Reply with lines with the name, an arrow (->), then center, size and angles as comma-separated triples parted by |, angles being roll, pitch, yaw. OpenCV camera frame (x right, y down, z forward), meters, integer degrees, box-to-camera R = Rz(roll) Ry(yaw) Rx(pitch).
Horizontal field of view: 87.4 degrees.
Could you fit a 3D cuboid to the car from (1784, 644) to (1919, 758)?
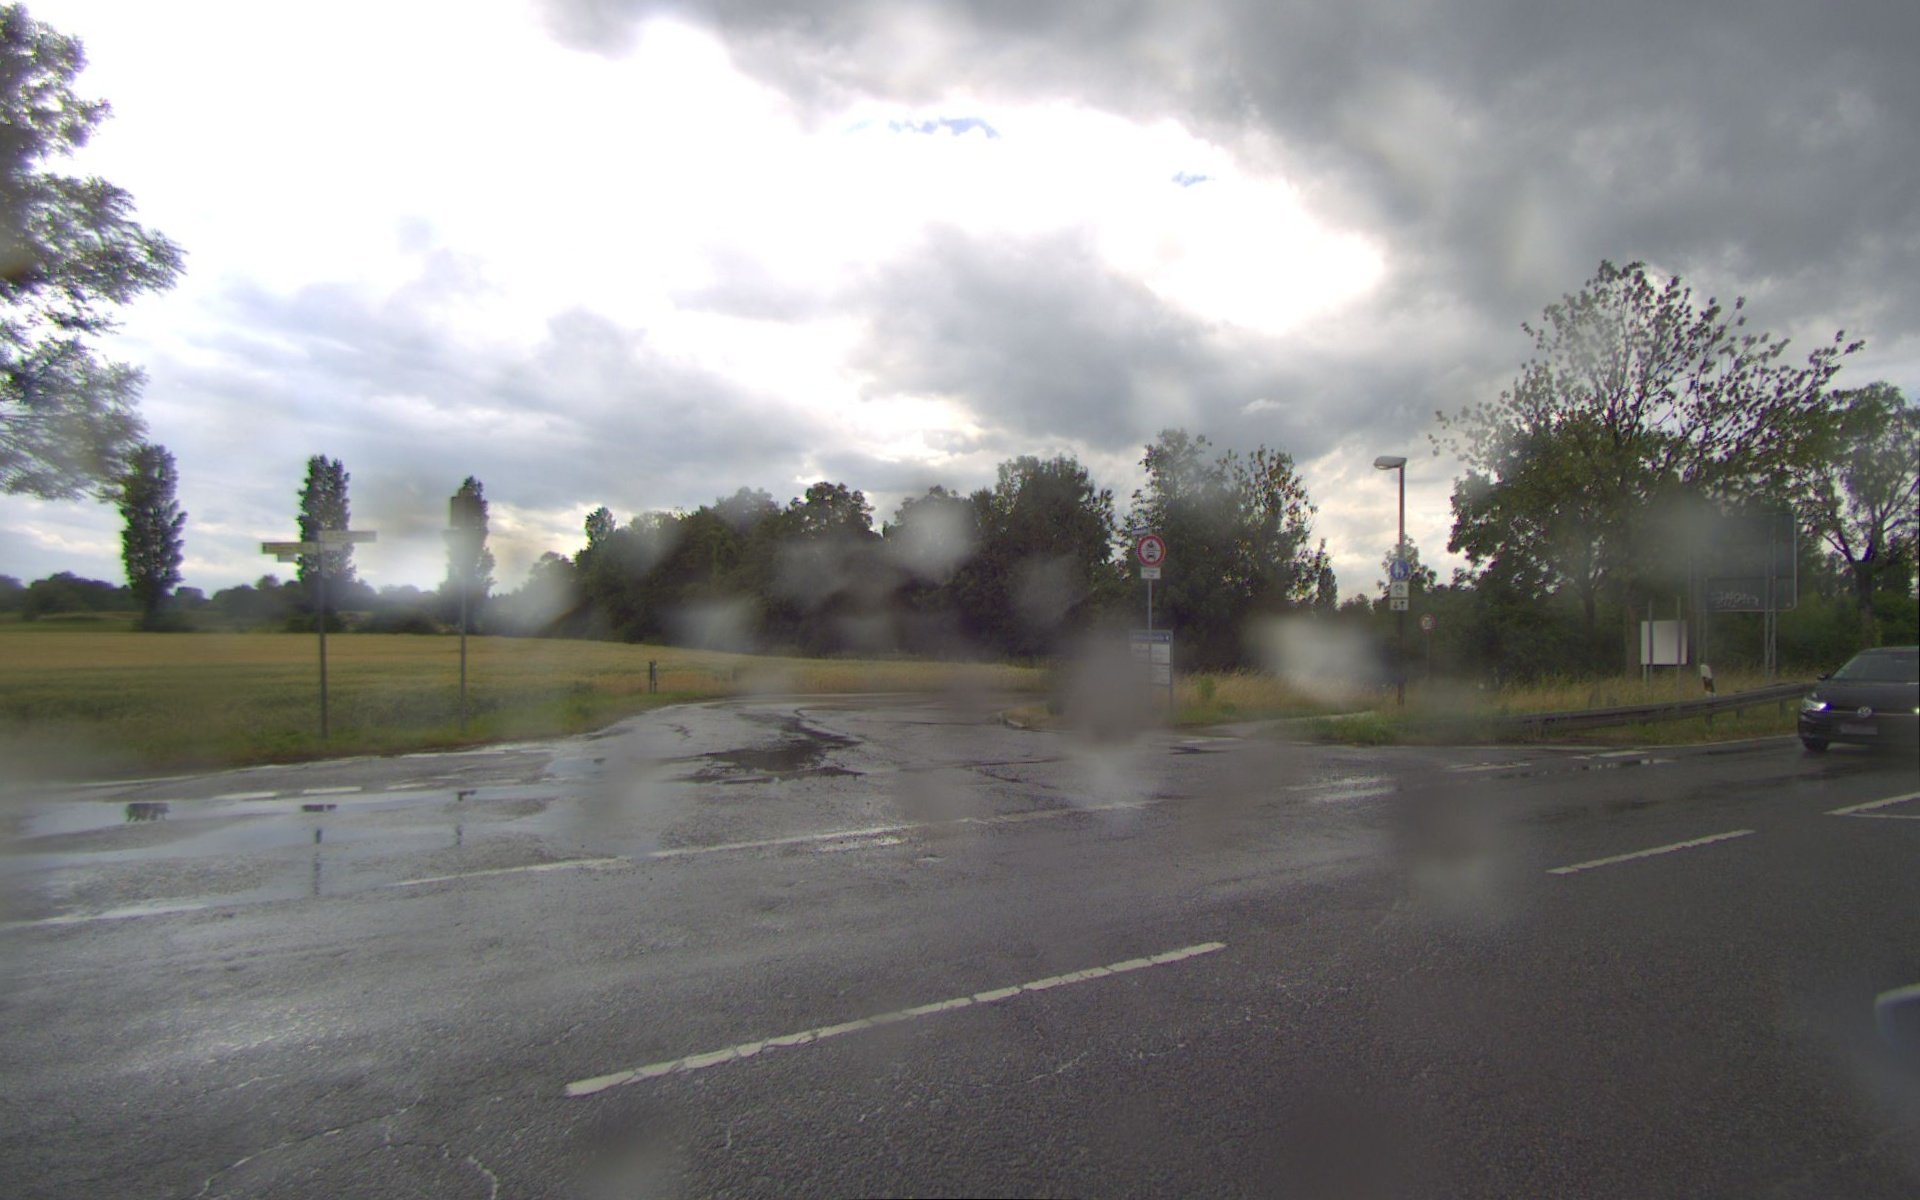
car -> 13.303, 1.323, 14.031 | 3.773, 1.424, 1.702 | 2, -3, -33
